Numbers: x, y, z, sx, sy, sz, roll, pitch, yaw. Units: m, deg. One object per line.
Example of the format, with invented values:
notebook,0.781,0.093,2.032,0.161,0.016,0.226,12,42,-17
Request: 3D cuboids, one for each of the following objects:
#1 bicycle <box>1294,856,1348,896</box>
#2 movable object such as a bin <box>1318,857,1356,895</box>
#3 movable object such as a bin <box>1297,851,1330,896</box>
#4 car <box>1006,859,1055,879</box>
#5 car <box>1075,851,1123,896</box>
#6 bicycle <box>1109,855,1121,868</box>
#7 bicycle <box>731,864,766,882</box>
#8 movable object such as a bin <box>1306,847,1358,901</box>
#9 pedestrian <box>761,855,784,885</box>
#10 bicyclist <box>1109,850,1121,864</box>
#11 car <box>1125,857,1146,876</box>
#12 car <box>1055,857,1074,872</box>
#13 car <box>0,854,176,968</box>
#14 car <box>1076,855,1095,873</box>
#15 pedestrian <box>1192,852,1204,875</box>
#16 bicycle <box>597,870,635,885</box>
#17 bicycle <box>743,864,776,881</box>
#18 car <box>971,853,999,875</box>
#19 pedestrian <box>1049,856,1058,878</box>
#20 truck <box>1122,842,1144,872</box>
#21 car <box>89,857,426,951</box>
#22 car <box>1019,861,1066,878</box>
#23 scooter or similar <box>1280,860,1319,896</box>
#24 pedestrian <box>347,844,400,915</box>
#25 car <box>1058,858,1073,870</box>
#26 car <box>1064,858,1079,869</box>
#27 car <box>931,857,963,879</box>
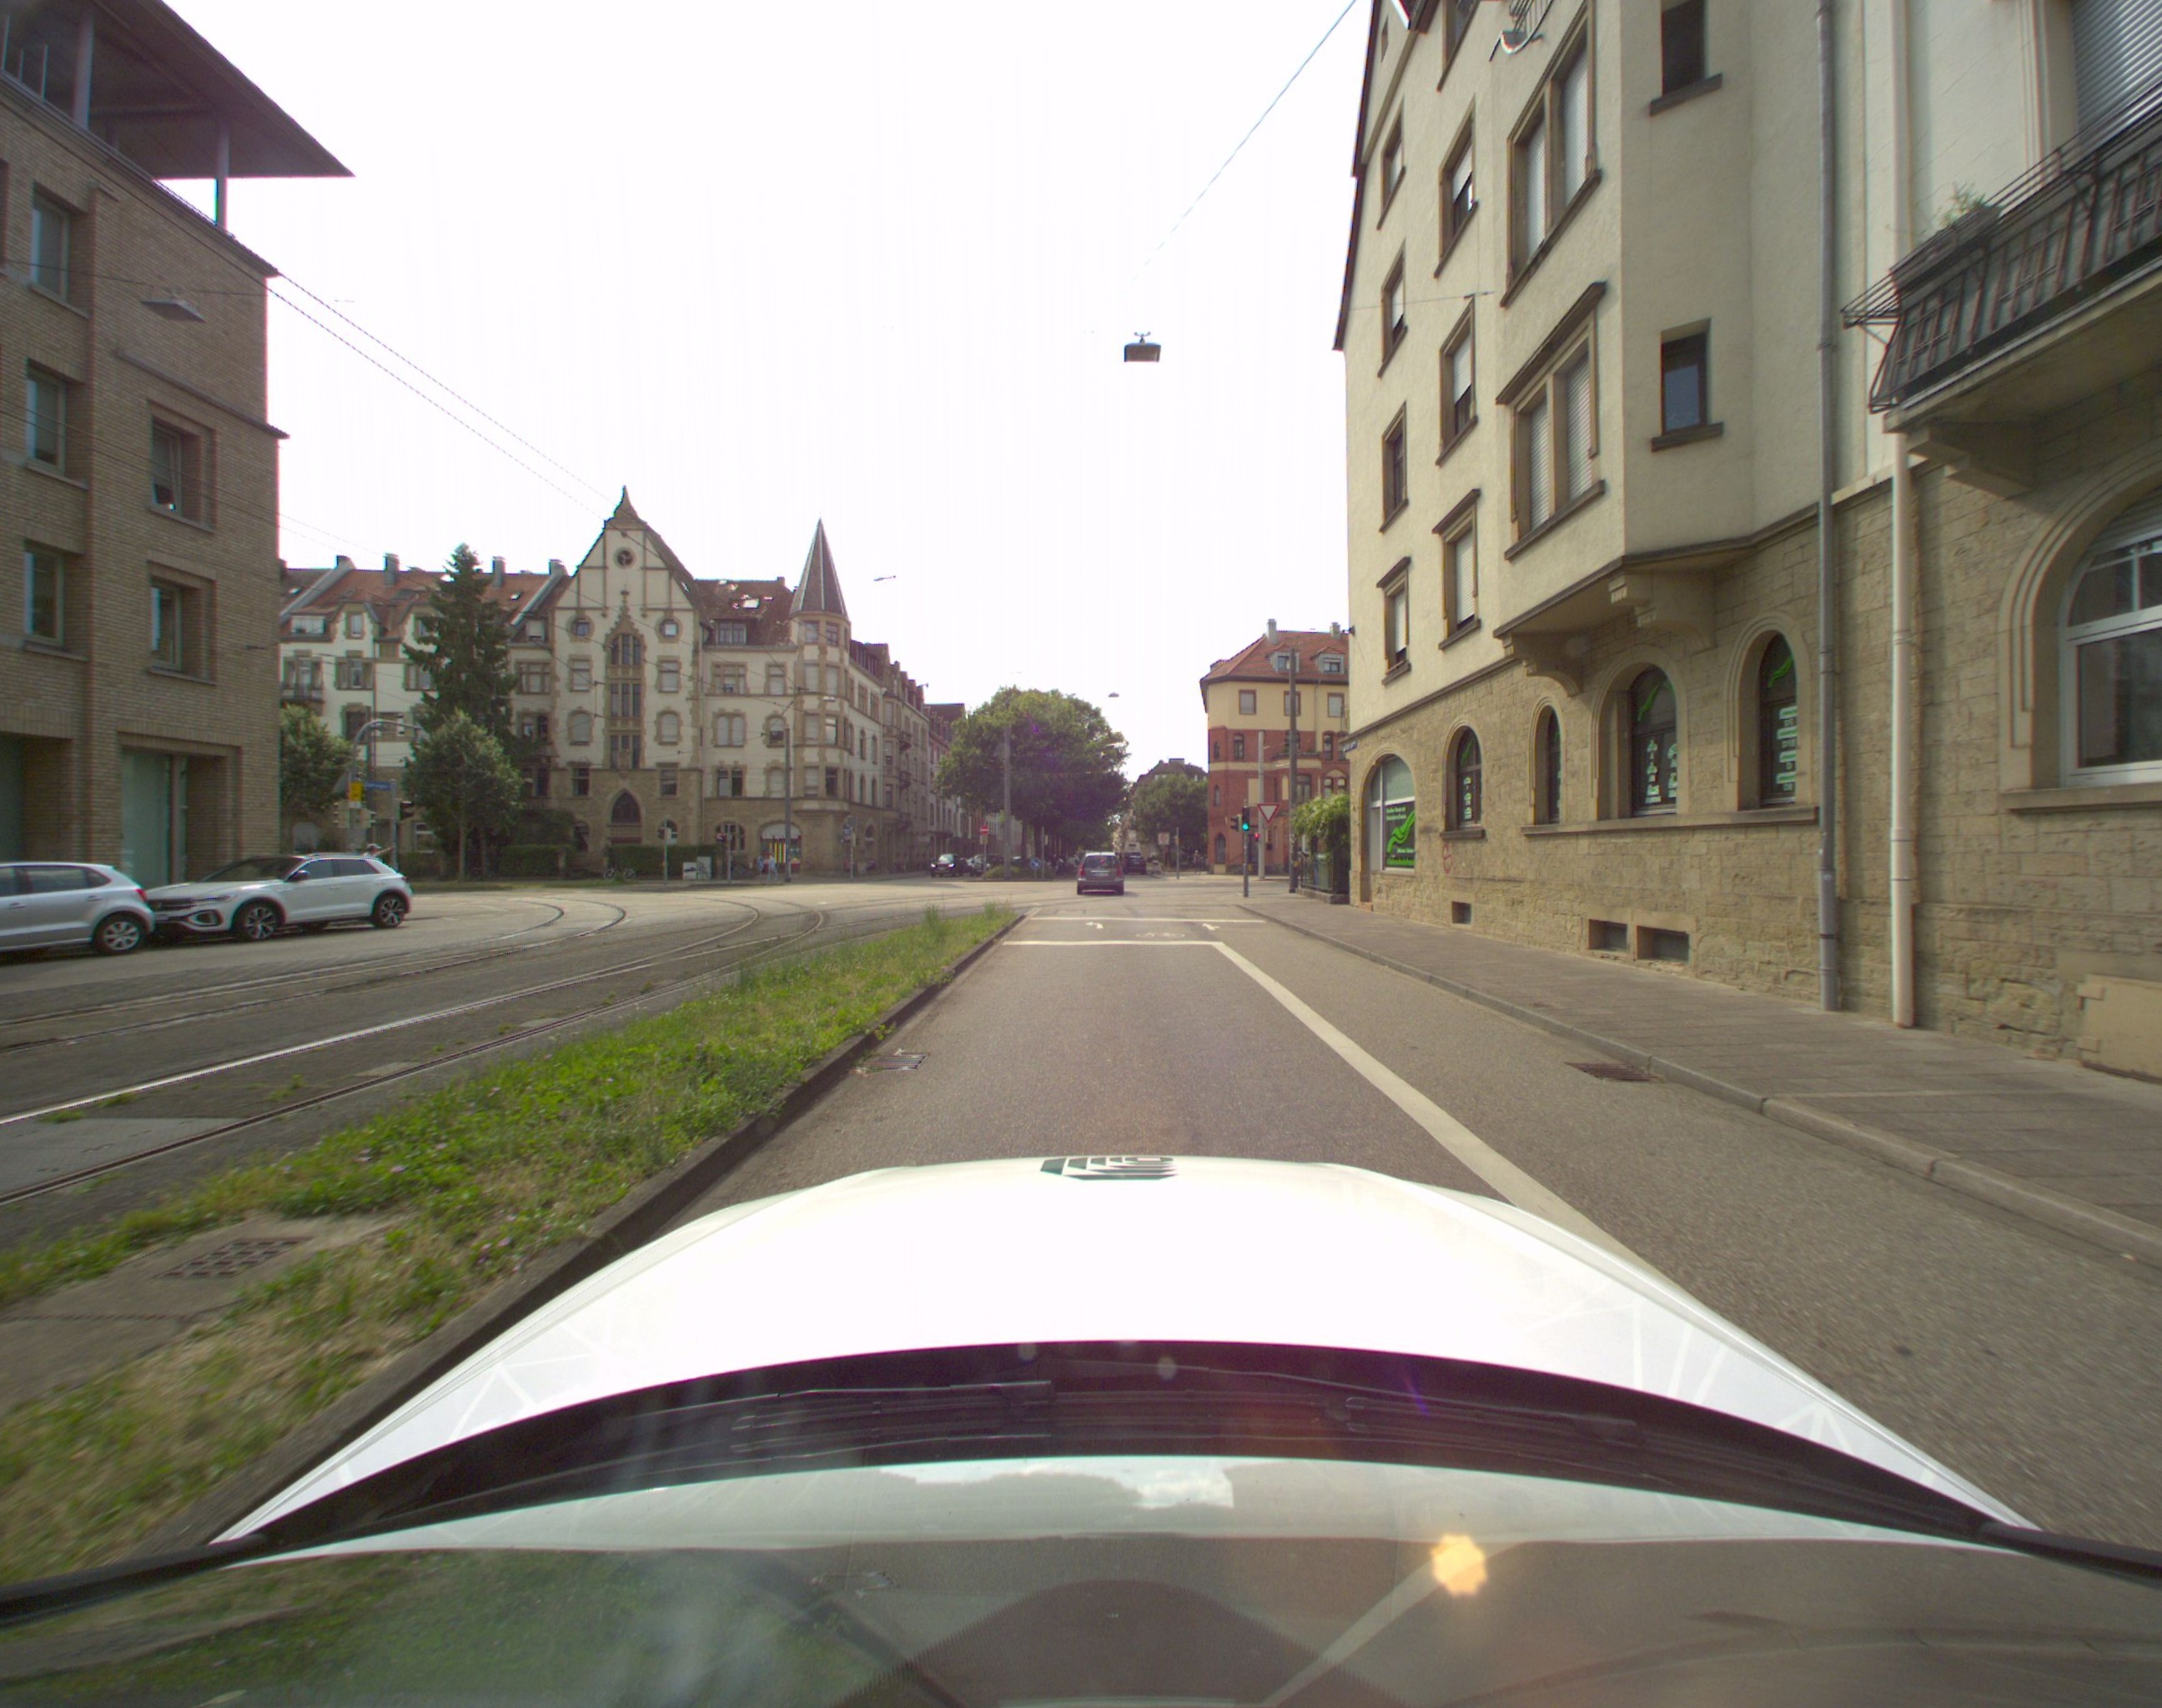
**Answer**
bicycle,8.228,0.754,27.904,1.827,1.329,0.276,-1,-1,-9
movable object such as a bin,8.200,0.691,26.102,1.023,1.174,0.660,-1,-1,3
movable object such as a bin,7.761,0.643,27.161,0.714,1.472,0.980,-1,-1,-7
car,-4.015,1.136,64.049,1.984,1.495,3.955,0,0,-37
car,0.728,0.712,31.405,1.715,1.605,3.679,-1,0,3
bicycle,2.599,0.552,61.826,0.745,0.958,2.302,-1,0,6
bicycle,-21.331,1.205,52.232,1.915,1.081,0.776,-1,-1,-9
movable object such as a bin,7.528,0.573,24.541,1.045,1.539,2.102,-1,-1,4
pedestrian,-17.897,0.895,47.204,1.029,1.722,0.767,0,-1,-42
bicyclist,2.589,0.229,61.826,0.832,1.082,1.402,-1,-1,5
car,4.827,1.118,71.730,1.743,1.633,3.505,0,0,6
car,-1.767,1.097,88.155,1.745,1.633,3.501,0,0,2
car,-15.435,0.770,10.954,1.925,1.530,4.017,0,0,3
car,0.457,0.970,78.253,1.715,1.706,3.679,-1,0,3
pedestrian,8.621,0.703,60.158,0.864,1.656,0.737,0,-1,6
bicycle,-28.067,1.420,49.141,1.915,0.848,0.469,-1,-1,-9
bicycle,-21.574,1.228,54.619,1.915,1.081,0.776,-1,-1,-9
car,-7.700,0.803,65.482,1.989,1.728,3.995,-1,0,-3
pedestrian,-2.084,0.992,62.354,0.648,1.725,0.495,0,-1,5
truck,5.408,0.328,84.636,2.112,2.970,4.006,-1,-1,5
car,-15.171,0.822,15.434,1.925,1.535,4.261,0,0,3
car,-3.156,1.216,66.647,1.984,1.339,3.955,0,0,-37
scooter or similar,7.561,0.822,28.228,1.192,1.217,0.462,-1,-1,-5
pedestrian,-18.331,0.651,21.132,0.763,1.795,0.952,0,-1,-23
car,-1.907,1.240,102.096,1.745,1.517,3.501,0,0,2
car,-1.222,1.239,108.907,1.745,1.517,3.501,0,0,2
car,-10.488,1.070,63.958,1.989,1.618,3.995,-1,0,-3
